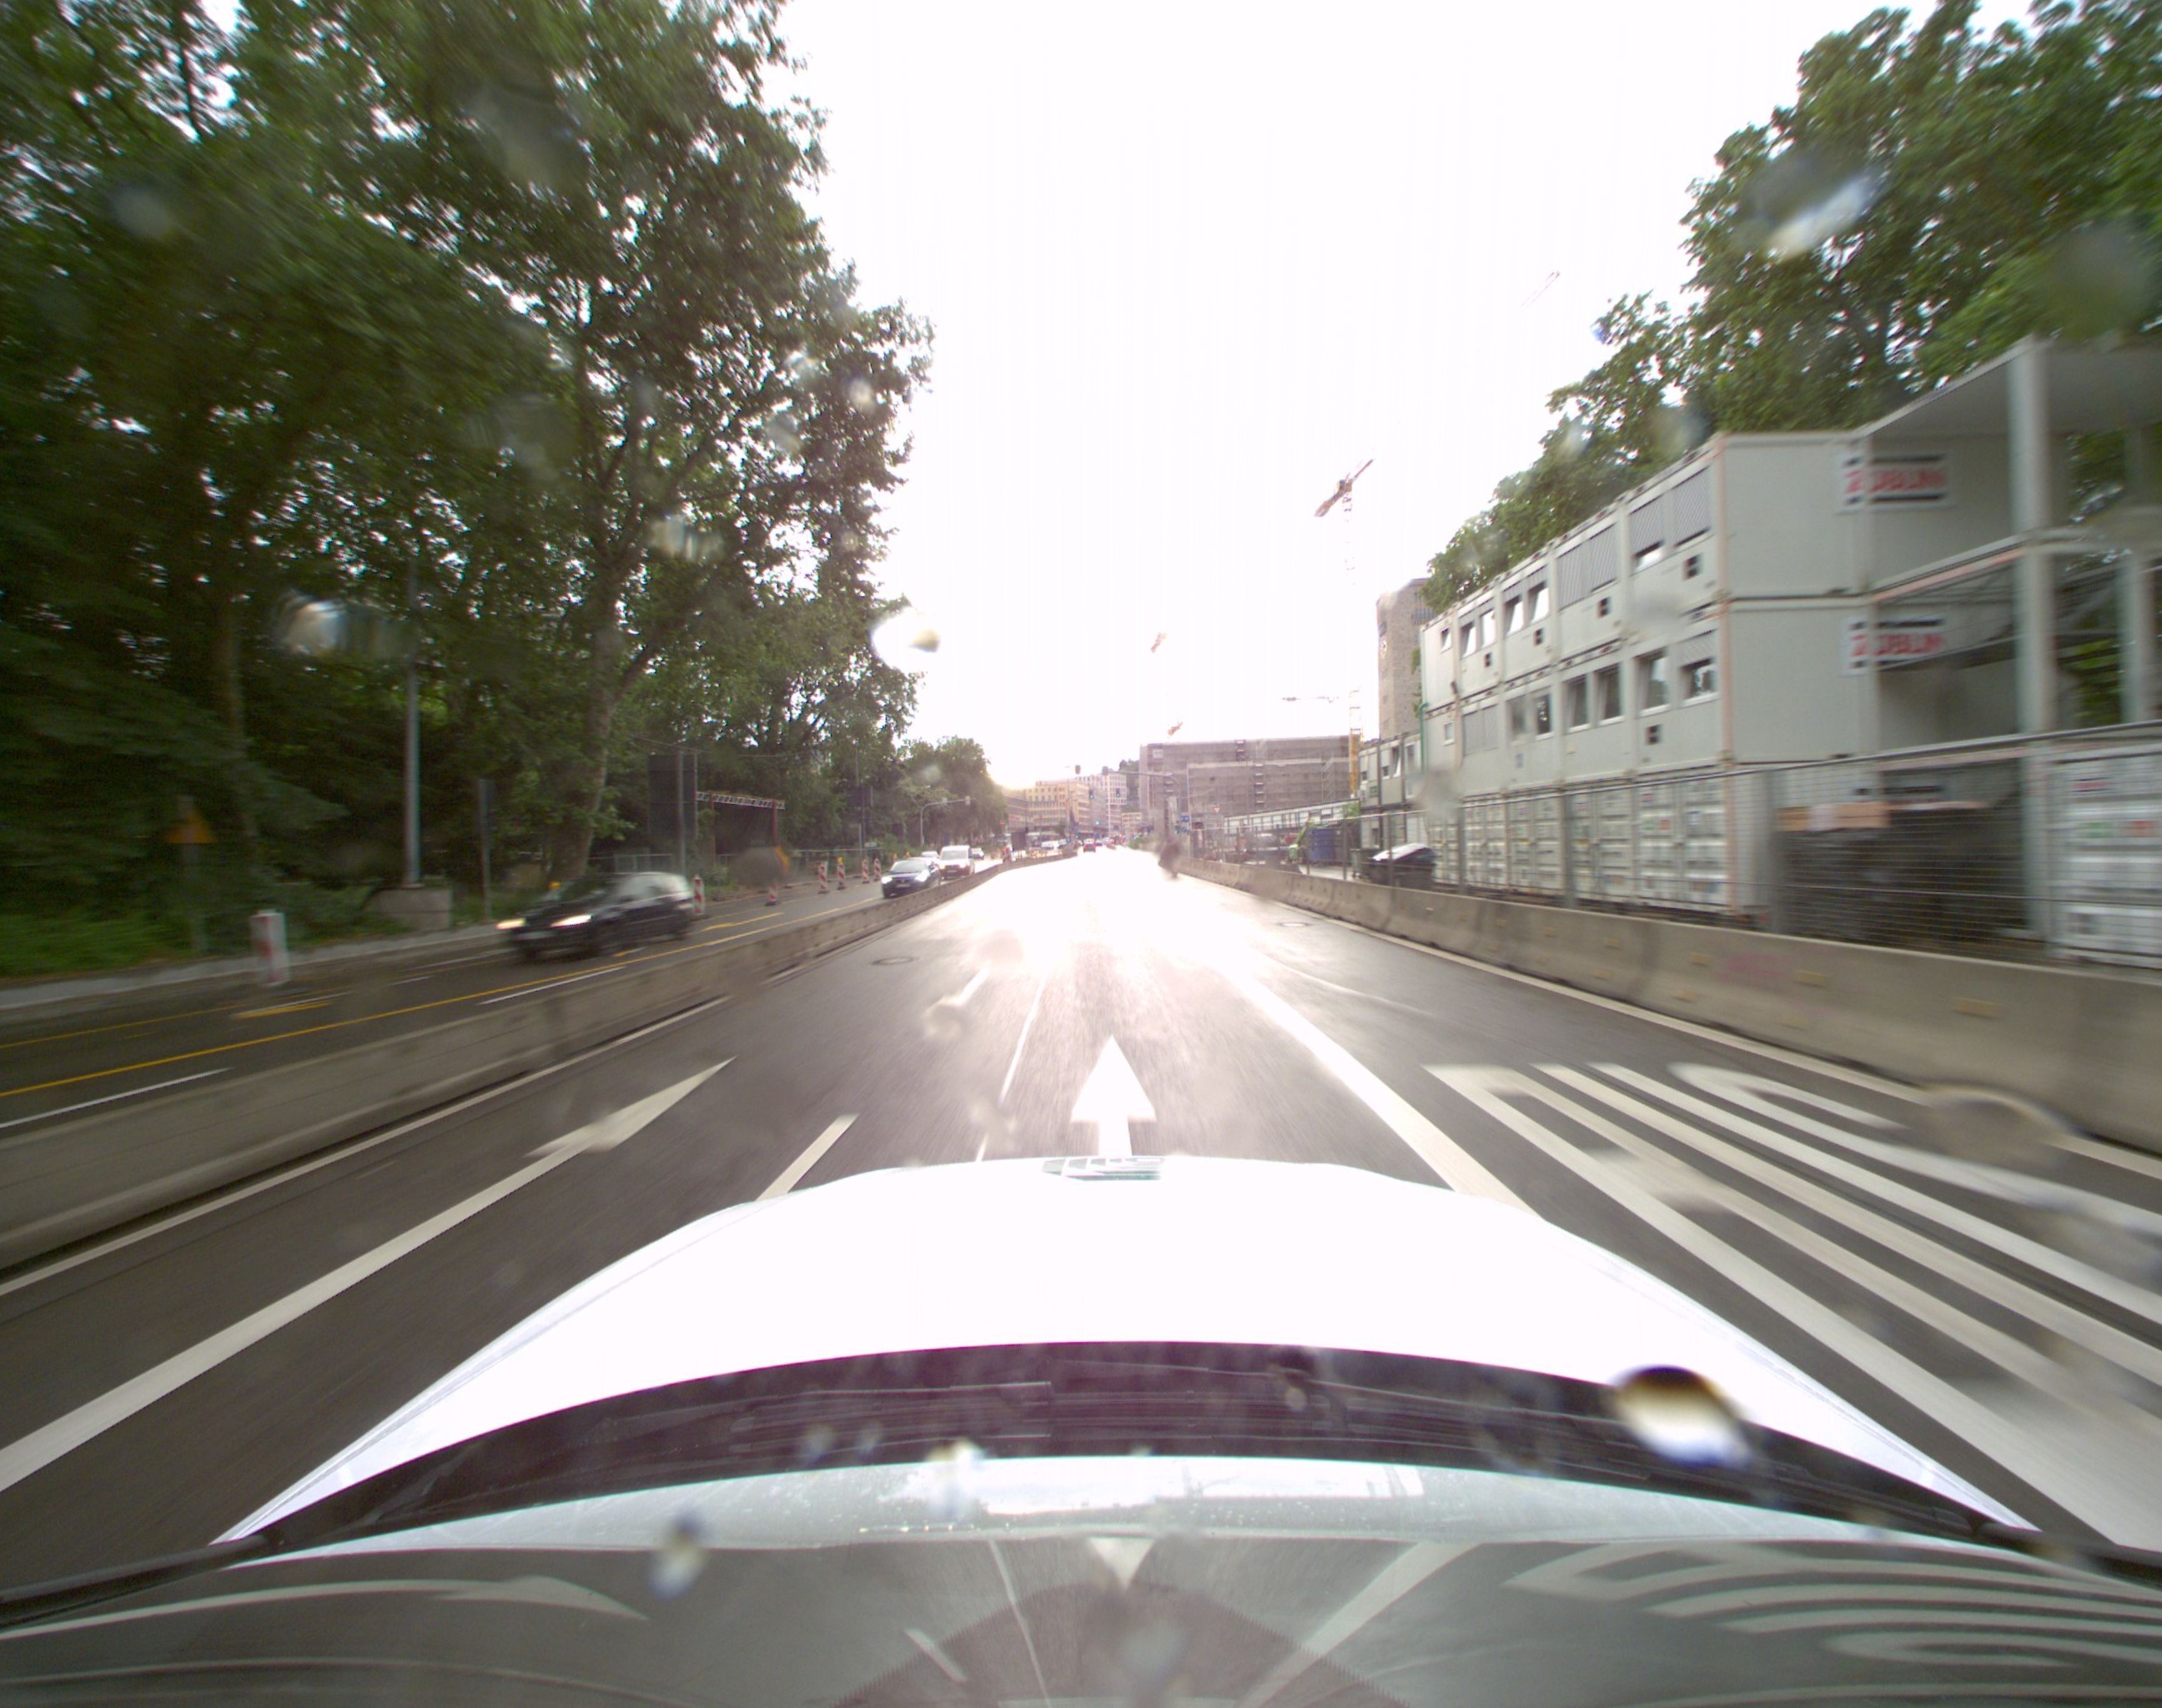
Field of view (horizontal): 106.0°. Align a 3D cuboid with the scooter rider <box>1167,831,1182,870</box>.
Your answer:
[{"bbox_3d":[4.396,-0.159,38.449,0.595,1.785,0.998,-1,0,3],"label":"scooter rider"}]

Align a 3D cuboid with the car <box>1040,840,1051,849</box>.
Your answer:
[{"bbox_3d":[-6.846,-1.888,157.951,1.897,1.528,4.174,-4,-1,-2],"label":"car"}]

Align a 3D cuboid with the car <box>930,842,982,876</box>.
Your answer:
[{"bbox_3d":[-6.945,0.268,45.708,2.024,1.653,4.910,-4,0,0],"label":"car"}]

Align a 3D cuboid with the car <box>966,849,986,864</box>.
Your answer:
[{"bbox_3d":[-12.655,0.332,98.055,1.990,1.541,4.573,-4,-1,-4],"label":"car"}]

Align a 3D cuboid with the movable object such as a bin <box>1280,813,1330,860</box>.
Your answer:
[{"bbox_3d":[14.063,-1.113,51.393,1.804,2.809,3.860,-2,2,-5],"label":"movable object such as a bin"}]

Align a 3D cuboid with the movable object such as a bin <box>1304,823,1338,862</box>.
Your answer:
[{"bbox_3d":[13.993,-0.668,47.504,1.463,2.203,1.255,-2,2,-23],"label":"movable object such as a bin"}]

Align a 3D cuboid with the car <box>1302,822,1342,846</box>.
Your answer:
[{"bbox_3d":[25.932,-2.135,87.719,2.042,2.313,5.593,-3,1,-6],"label":"car"}]

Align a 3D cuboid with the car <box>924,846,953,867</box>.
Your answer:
[{"bbox_3d":[-12.086,0.243,69.228,1.865,1.541,4.084,-4,-1,-4],"label":"car"}]

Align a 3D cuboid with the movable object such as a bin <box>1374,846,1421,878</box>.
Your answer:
[{"bbox_3d":[11.978,0.317,30.853,1.243,1.123,1.239,-4,-2,-1],"label":"movable object such as a bin"}]

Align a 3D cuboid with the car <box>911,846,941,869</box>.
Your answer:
[{"bbox_3d":[-12.824,0.343,67.773,1.872,1.706,3.994,-4,-1,-4],"label":"car"}]

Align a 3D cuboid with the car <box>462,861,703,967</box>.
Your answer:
[{"bbox_3d":[-9.878,1.086,16.642,2.022,1.653,4.322,-3,1,3],"label":"car"}]

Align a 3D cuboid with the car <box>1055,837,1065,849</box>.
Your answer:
[{"bbox_3d":[-4.049,-2.172,158.334,1.897,2.082,4.174,-4,-1,-2],"label":"car"}]

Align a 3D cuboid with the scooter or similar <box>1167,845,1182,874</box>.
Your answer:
[{"bbox_3d":[4.415,0.235,38.469,0.595,1.319,1.669,-1,1,3],"label":"scooter or similar"}]

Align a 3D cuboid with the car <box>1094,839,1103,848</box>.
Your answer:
[{"bbox_3d":[4.408,-2.619,203.886,1.986,2.014,4.001,-4,-1,2],"label":"car"}]

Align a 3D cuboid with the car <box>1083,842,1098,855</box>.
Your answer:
[{"bbox_3d":[1.379,-0.776,115.541,1.897,1.528,4.174,-4,-1,-2],"label":"car"}]

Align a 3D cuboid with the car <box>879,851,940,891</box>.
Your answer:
[{"bbox_3d":[-6.614,0.637,31.778,1.709,1.339,4.055,-4,0,-4],"label":"car"}]

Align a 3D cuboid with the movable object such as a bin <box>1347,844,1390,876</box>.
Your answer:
[{"bbox_3d":[11.898,0.246,33.725,1.243,1.237,1.239,-4,-2,-1],"label":"movable object such as a bin"}]

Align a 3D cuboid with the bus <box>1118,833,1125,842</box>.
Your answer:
[{"bbox_3d":[12.489,-5.089,251.240,1.983,2.431,4.006,-4,-1,6],"label":"bus"}]
